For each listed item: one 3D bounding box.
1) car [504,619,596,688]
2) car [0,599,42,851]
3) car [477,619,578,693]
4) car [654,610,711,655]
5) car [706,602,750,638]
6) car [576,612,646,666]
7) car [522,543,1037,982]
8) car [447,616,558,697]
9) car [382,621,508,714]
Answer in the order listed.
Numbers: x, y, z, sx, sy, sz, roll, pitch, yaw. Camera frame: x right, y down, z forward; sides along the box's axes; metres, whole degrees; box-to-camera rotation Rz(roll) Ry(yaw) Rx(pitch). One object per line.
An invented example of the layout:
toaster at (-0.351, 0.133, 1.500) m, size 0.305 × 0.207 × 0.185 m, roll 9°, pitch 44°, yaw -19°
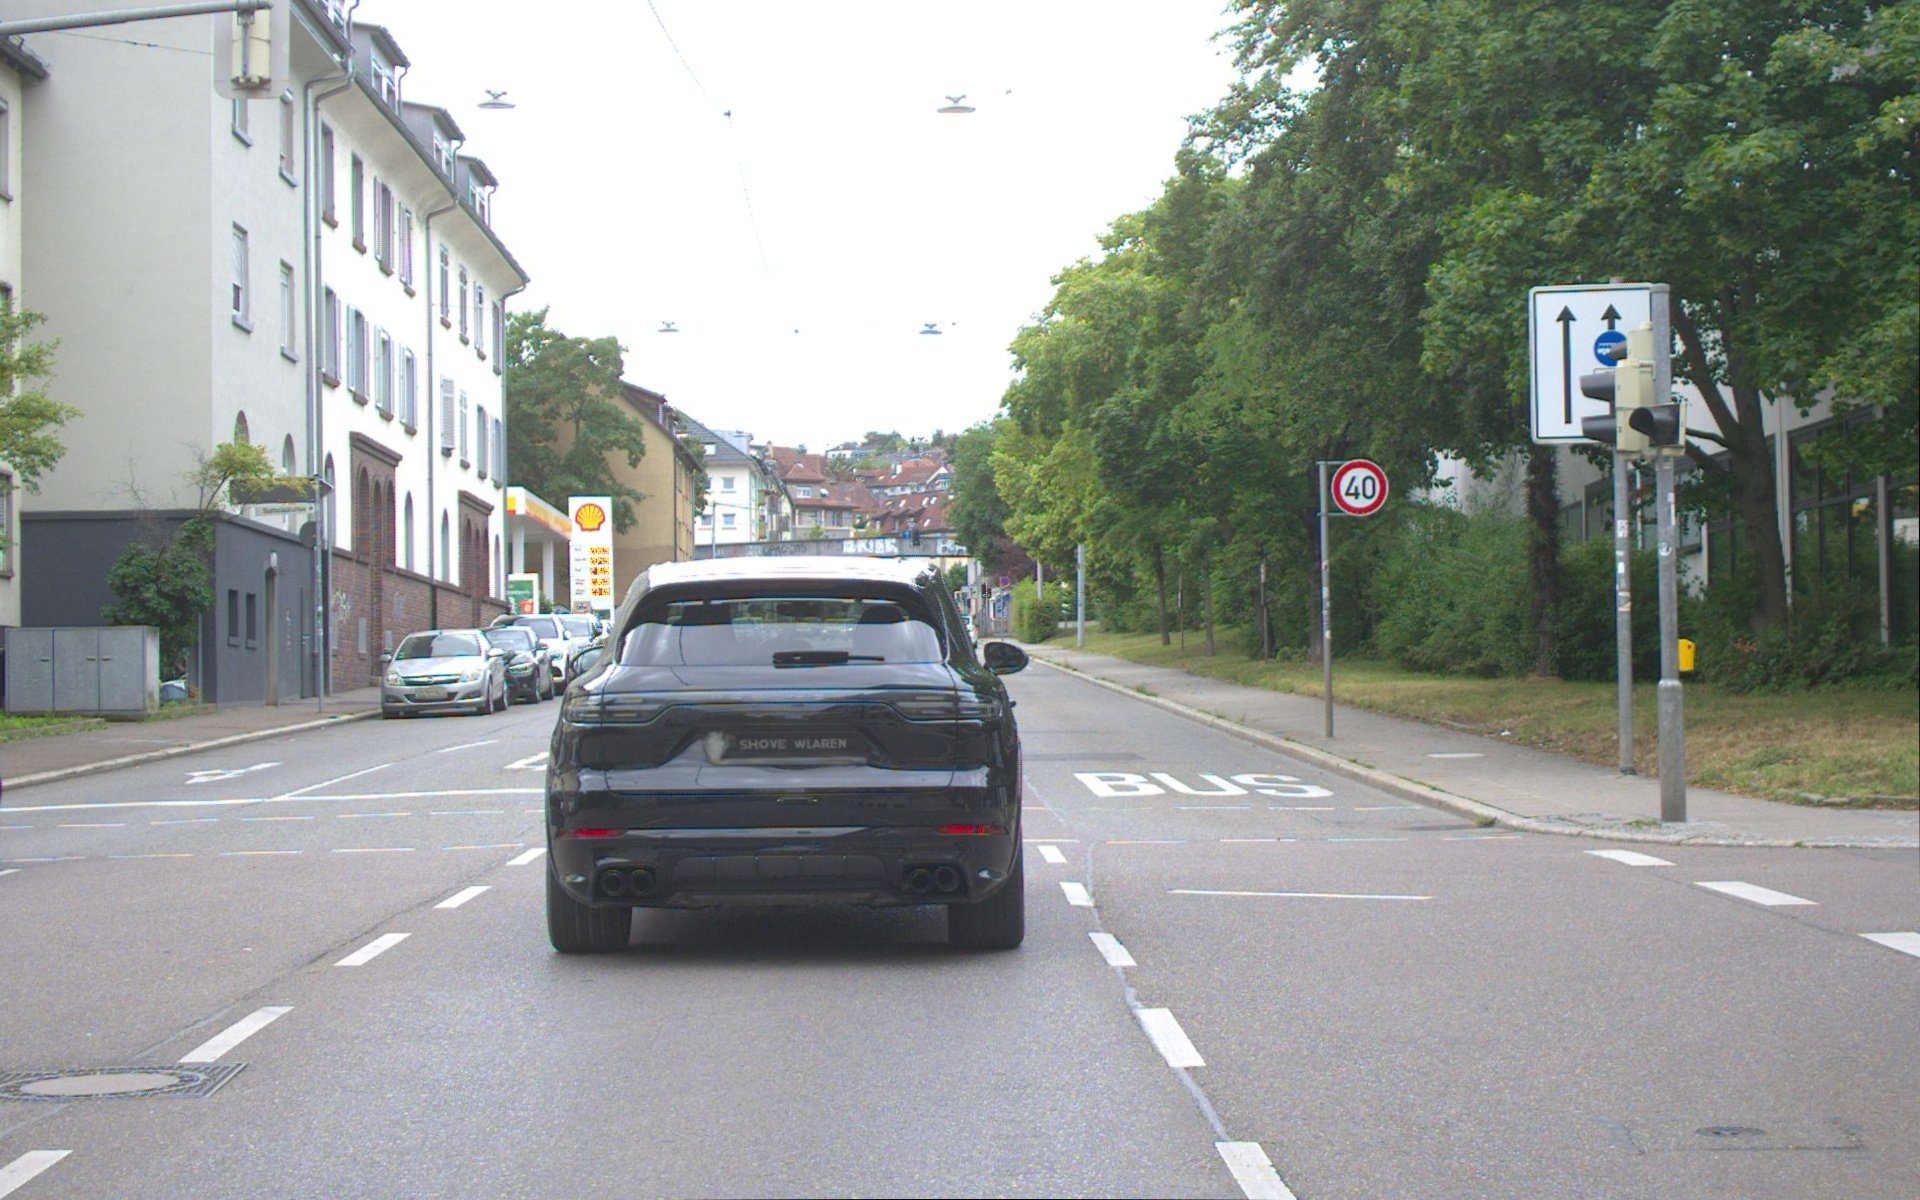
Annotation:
car at (-8.835, 1.139, 74.298) m, size 1.669 × 1.357 × 4.000 m, roll 0°, pitch 1°, yaw -2°
car at (-6.688, 0.831, 19.859) m, size 1.664 × 1.514 × 3.740 m, roll -4°, pitch 1°, yaw 0°
car at (-8.672, 1.105, 69.175) m, size 1.669 × 1.357 × 4.000 m, roll 0°, pitch 1°, yaw -2°
car at (-9.032, 1.045, 112.121) m, size 1.669 × 1.357 × 4.000 m, roll 0°, pitch 1°, yaw -2°
car at (-9.311, 0.806, 138.323) m, size 1.669 × 1.357 × 4.000 m, roll 0°, pitch 1°, yaw -2°
car at (-9.552, 1.059, 94.286) m, size 1.669 × 1.357 × 4.000 m, roll 0°, pitch 1°, yaw -2°
car at (-0.730, 0.607, 15.431) m, size 1.993 × 1.691 × 4.000 m, roll 1°, pitch 1°, yaw -1°
car at (-8.382, 1.022, 63.199) m, size 1.669 × 1.357 × 4.000 m, roll 0°, pitch 1°, yaw -2°
car at (-8.310, 1.065, 55.698) m, size 1.669 × 1.357 × 4.001 m, roll 0°, pitch 1°, yaw -3°
